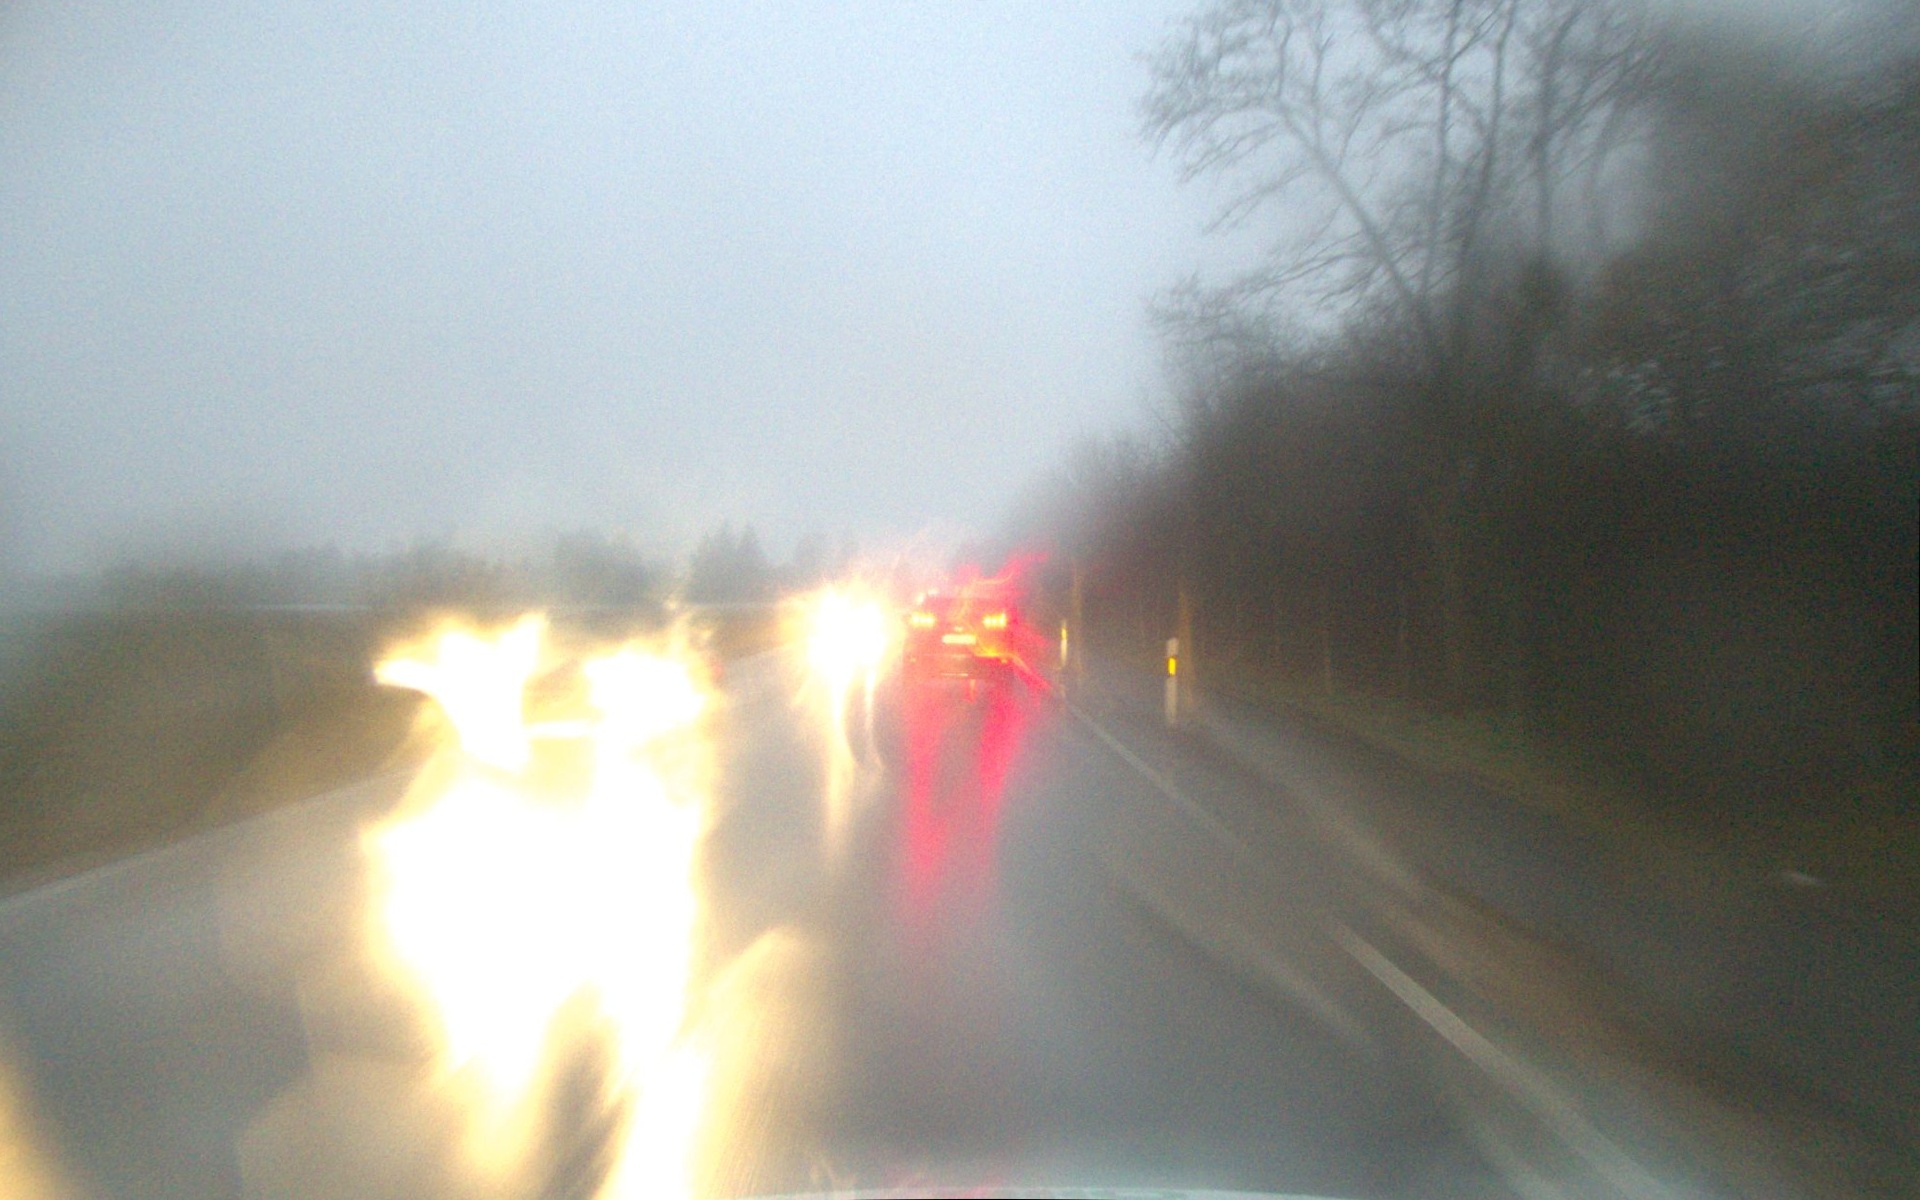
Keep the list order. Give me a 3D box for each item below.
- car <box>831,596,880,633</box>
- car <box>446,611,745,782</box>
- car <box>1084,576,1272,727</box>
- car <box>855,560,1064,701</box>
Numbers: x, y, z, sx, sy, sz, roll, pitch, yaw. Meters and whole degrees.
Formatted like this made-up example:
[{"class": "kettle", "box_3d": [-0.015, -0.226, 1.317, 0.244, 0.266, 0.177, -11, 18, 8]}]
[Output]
[{"class": "car", "box_3d": [-4.752, 0.647, 76.010, 1.953, 1.489, 4.351, -4, 0, -1]}, {"class": "car", "box_3d": [-3.314, 0.819, 15.962, 1.953, 1.396, 4.397, 1, 0, -1]}, {"class": "car", "box_3d": [2.764, 0.627, 21.839, 1.889, 1.780, 3.999, 1, 0, -1]}, {"class": "car", "box_3d": [-0.038, 0.436, 28.212, 3.100, 2.071, 6.850, -1, 0, -1]}]
